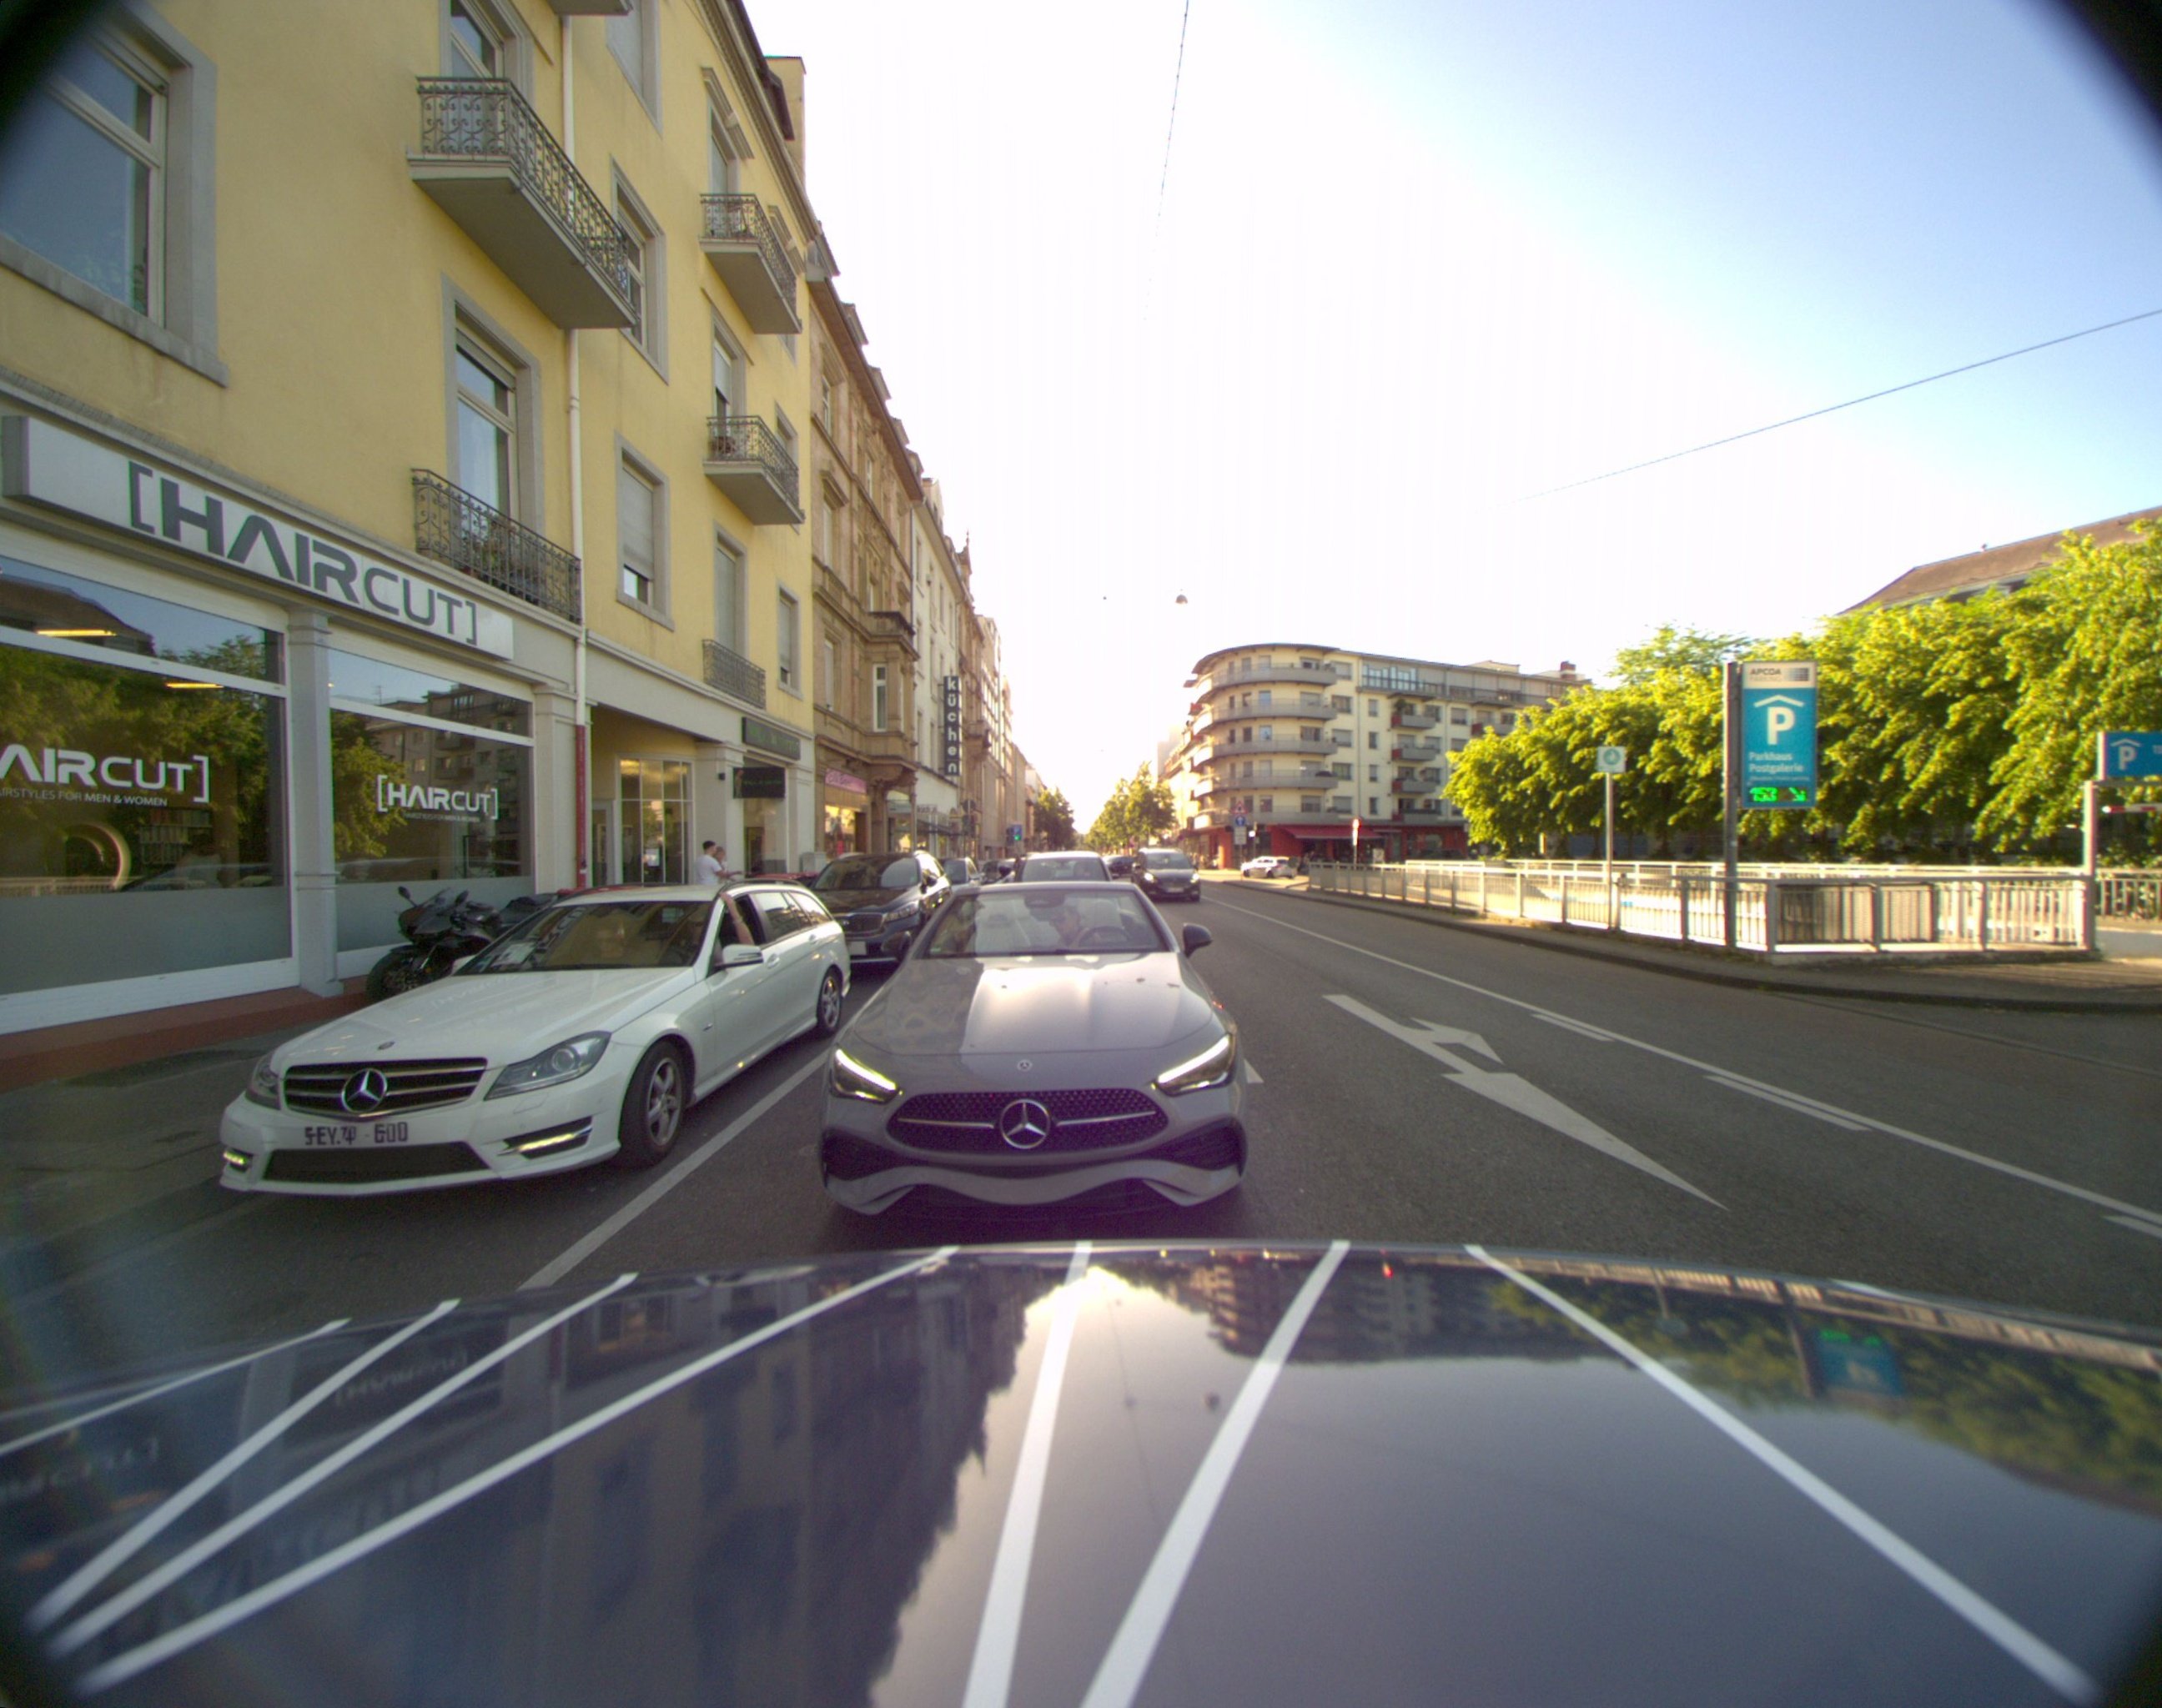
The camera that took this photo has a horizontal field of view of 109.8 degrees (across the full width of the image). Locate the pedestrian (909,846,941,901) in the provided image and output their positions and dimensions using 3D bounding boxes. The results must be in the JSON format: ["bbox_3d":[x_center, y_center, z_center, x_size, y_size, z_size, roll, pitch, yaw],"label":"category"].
[{"bbox_3d":[-4.688,0.578,22.887,0.795,1.607,0.763,-1,1,-1],"label":"pedestrian"}]

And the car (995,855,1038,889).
[{"bbox_3d":[-3.046,0.812,36.475,1.715,1.477,3.999,-1,0,0],"label":"car"}]

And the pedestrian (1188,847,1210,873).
[{"bbox_3d":[9.214,0.470,59.357,1.202,2.002,1.018,-3,1,-37],"label":"pedestrian"}]

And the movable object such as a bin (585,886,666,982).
[{"bbox_3d":[-6.055,1.051,10.134,0.647,1.200,0.644,-1,1,1],"label":"movable object such as a bin"}]

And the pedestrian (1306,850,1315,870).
[{"bbox_3d":[17.955,0.464,59.493,0.581,1.481,0.793,-1,1,13],"label":"pedestrian"}]

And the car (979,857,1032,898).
[{"bbox_3d":[-2.978,0.894,30.658,1.715,1.477,3.999,-1,0,0],"label":"car"}]

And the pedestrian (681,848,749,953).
[{"bbox_3d":[-5.821,0.720,12.109,0.642,1.607,0.701,-1,1,8],"label":"pedestrian"}]

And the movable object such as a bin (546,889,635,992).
[{"bbox_3d":[-6.105,1.060,9.483,0.647,1.200,0.644,-1,1,1],"label":"movable object such as a bin"}]

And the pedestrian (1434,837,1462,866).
[{"bbox_3d":[26.380,-0.162,54.640,1.319,2.002,1.295,-1,1,-4],"label":"pedestrian"}]

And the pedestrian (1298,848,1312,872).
[{"bbox_3d":[16.444,0.433,55.764,0.674,1.696,0.699,-2,1,-7],"label":"pedestrian"}]

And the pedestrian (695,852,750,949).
[{"bbox_3d":[-6.112,0.770,12.982,0.572,1.607,0.643,-1,1,2],"label":"pedestrian"}]

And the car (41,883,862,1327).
[{"bbox_3d":[-3.043,1.041,5.187,1.759,1.453,4.597,-1,0,0],"label":"car"}]

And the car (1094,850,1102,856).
[{"bbox_3d":[4.805,-0.268,212.704,1.998,1.805,4.000,-2,0,1],"label":"car"}]

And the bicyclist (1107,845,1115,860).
[{"bbox_3d":[3.270,-0.203,83.498,0.758,1.651,1.143,-2,1,-2],"label":"bicyclist"}]

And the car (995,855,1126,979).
[{"bbox_3d":[-0.247,0.848,12.172,1.716,1.599,4.000,-1,0,1],"label":"car"}]

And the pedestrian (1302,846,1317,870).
[{"bbox_3d":[16.951,0.299,56.396,0.756,1.795,0.755,-2,1,-41],"label":"pedestrian"}]

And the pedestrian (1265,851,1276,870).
[{"bbox_3d":[15.057,0.503,60.265,0.791,1.452,0.583,-1,1,10],"label":"pedestrian"}]

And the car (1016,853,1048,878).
[{"bbox_3d":[-3.020,0.691,47.588,1.715,1.477,4.062,-1,0,0],"label":"car"}]

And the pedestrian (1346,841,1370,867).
[{"bbox_3d":[21.574,0.025,59.186,1.234,2.002,1.259,-2,1,-21],"label":"pedestrian"}]

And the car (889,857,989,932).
[{"bbox_3d":[-3.248,0.889,17.907,1.696,1.559,3.018,-1,0,1],"label":"car"}]

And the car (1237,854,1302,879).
[{"bbox_3d":[11.940,0.769,48.481,1.805,1.426,4.243,-2,0,-23],"label":"car"}]

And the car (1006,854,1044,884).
[{"bbox_3d":[-2.978,0.763,40.993,1.715,1.477,3.999,-1,0,0],"label":"car"}]

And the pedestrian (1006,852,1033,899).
[{"bbox_3d":[-2.237,0.764,27.491,0.694,1.657,0.833,-2,1,-22],"label":"pedestrian"}]

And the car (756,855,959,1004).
[{"bbox_3d":[-3.017,0.891,11.332,1.858,1.688,4.697,-1,0,-4],"label":"car"}]

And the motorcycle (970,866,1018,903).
[{"bbox_3d":[-3.053,1.046,26.782,0.769,1.225,1.546,-1,1,42],"label":"motorcycle"}]

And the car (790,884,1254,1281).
[{"bbox_3d":[-0.256,1.014,5.228,1.849,1.371,4.255,-2,0,-1],"label":"car"}]

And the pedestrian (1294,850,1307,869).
[{"bbox_3d":[17.694,0.442,61.148,0.583,1.453,0.790,-2,1,-37],"label":"pedestrian"}]

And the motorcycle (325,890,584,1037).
[{"bbox_3d":[-6.258,1.020,7.821,0.773,1.158,2.247,1,0,1],"label":"motorcycle"}]

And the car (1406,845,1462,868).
[{"bbox_3d":[29.039,0.178,62.445,4.004,1.740,1.996,-2,1,-23],"label":"car"}]

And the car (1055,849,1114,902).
[{"bbox_3d":[0.150,0.708,27.598,1.952,1.742,4.000,-1,0,1],"label":"car"}]

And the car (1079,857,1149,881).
[{"bbox_3d":[2.143,0.944,48.884,4.297,1.375,1.994,-2,1,-40],"label":"car"}]
